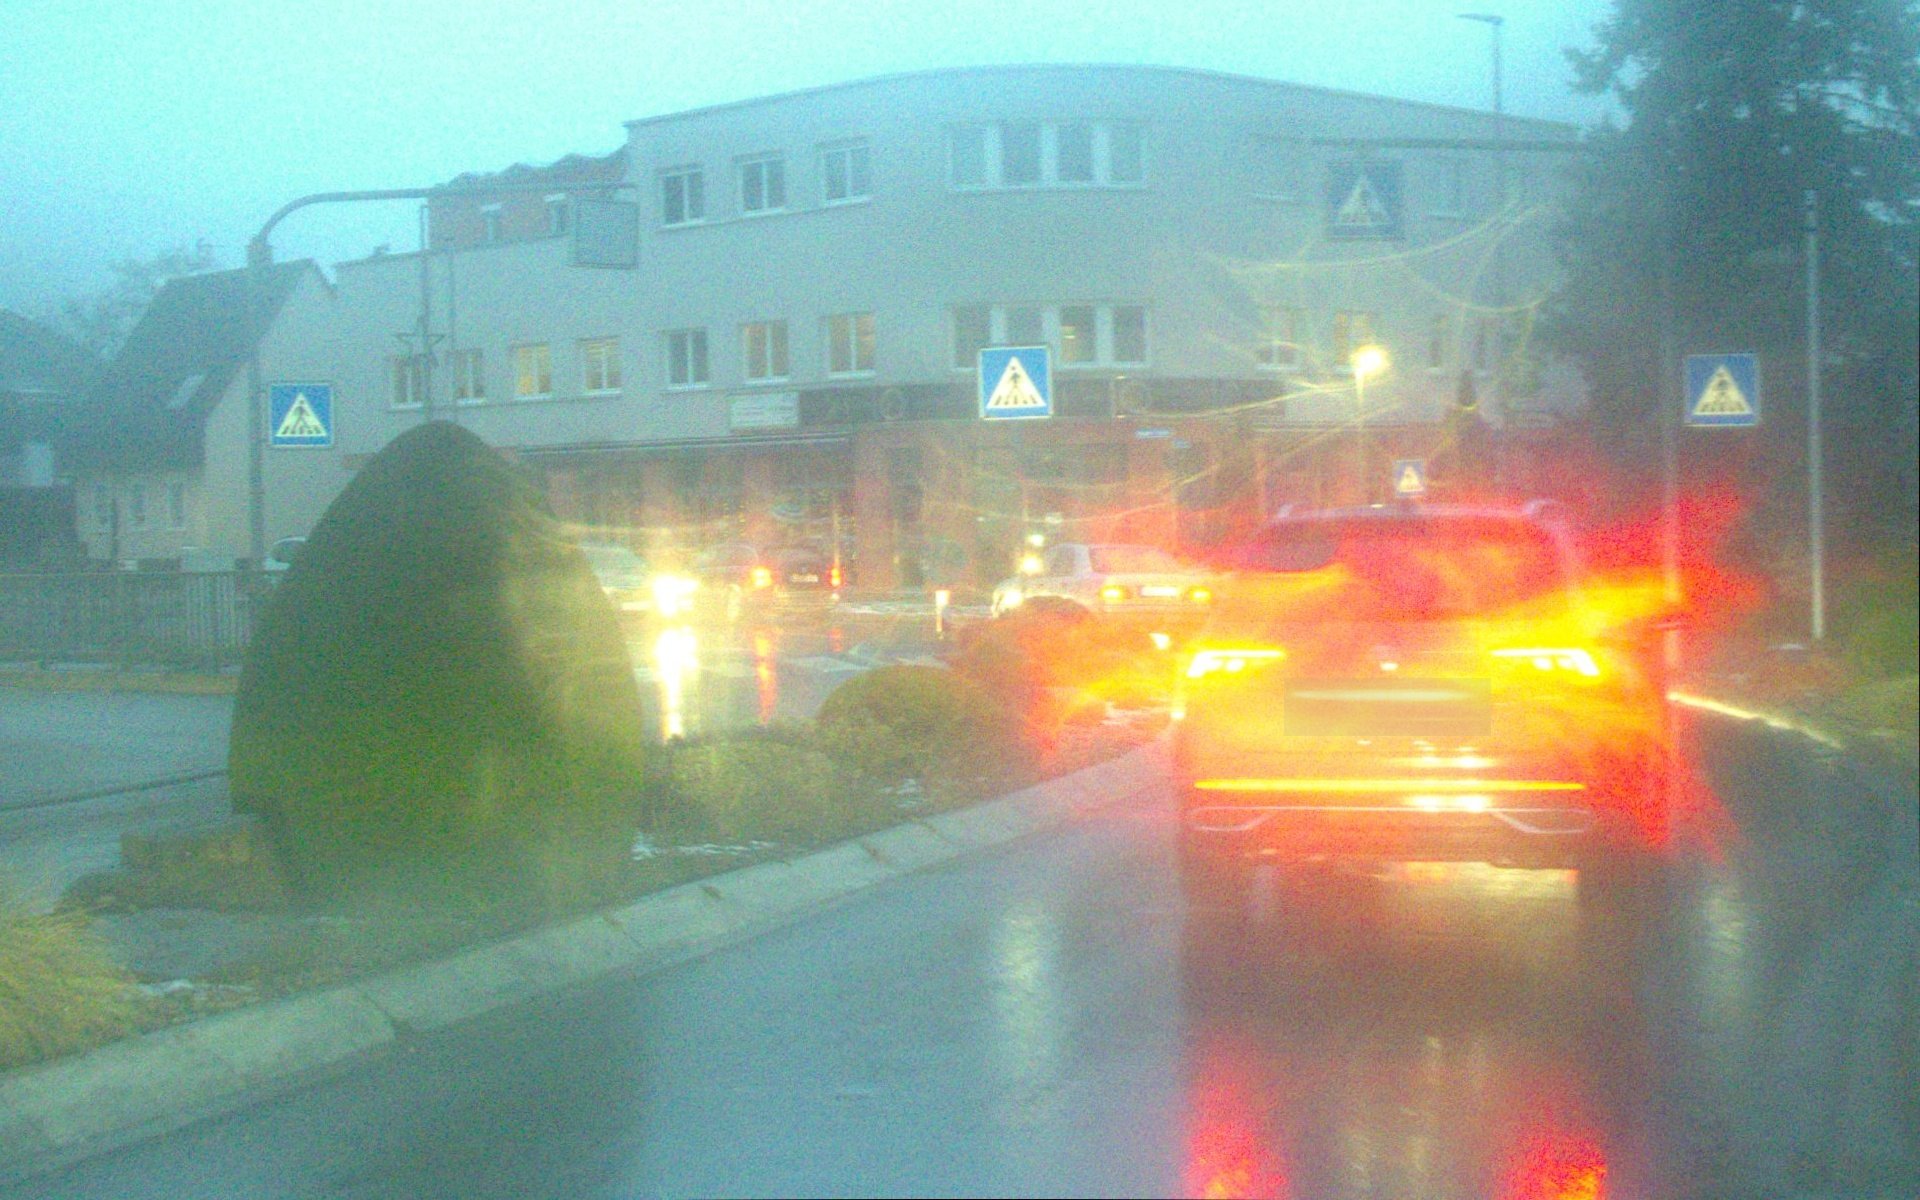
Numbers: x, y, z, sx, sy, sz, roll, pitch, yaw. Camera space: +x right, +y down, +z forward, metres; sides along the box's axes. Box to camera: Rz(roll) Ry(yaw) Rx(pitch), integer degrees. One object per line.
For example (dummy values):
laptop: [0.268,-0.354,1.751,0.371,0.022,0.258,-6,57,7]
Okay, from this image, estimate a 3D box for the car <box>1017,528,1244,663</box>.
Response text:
car: [2.342,-0.112,48.529,2.062,1.711,4.573,-1,2,-12]

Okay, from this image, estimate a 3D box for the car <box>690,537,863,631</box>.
car: [-3.251,-0.260,59.973,1.882,1.543,4.572,-1,0,-18]

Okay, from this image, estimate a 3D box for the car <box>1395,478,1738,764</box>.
car: [4.442,0.068,25.523,2.164,1.683,4.570,-5,2,9]

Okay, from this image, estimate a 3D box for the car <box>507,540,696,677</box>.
car: [-6.003,0.088,57.031,2.163,2.053,4.573,-2,2,-18]

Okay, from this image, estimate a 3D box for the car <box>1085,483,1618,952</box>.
car: [1.595,0.376,14.776,1.945,1.712,4.000,-1,2,4]
